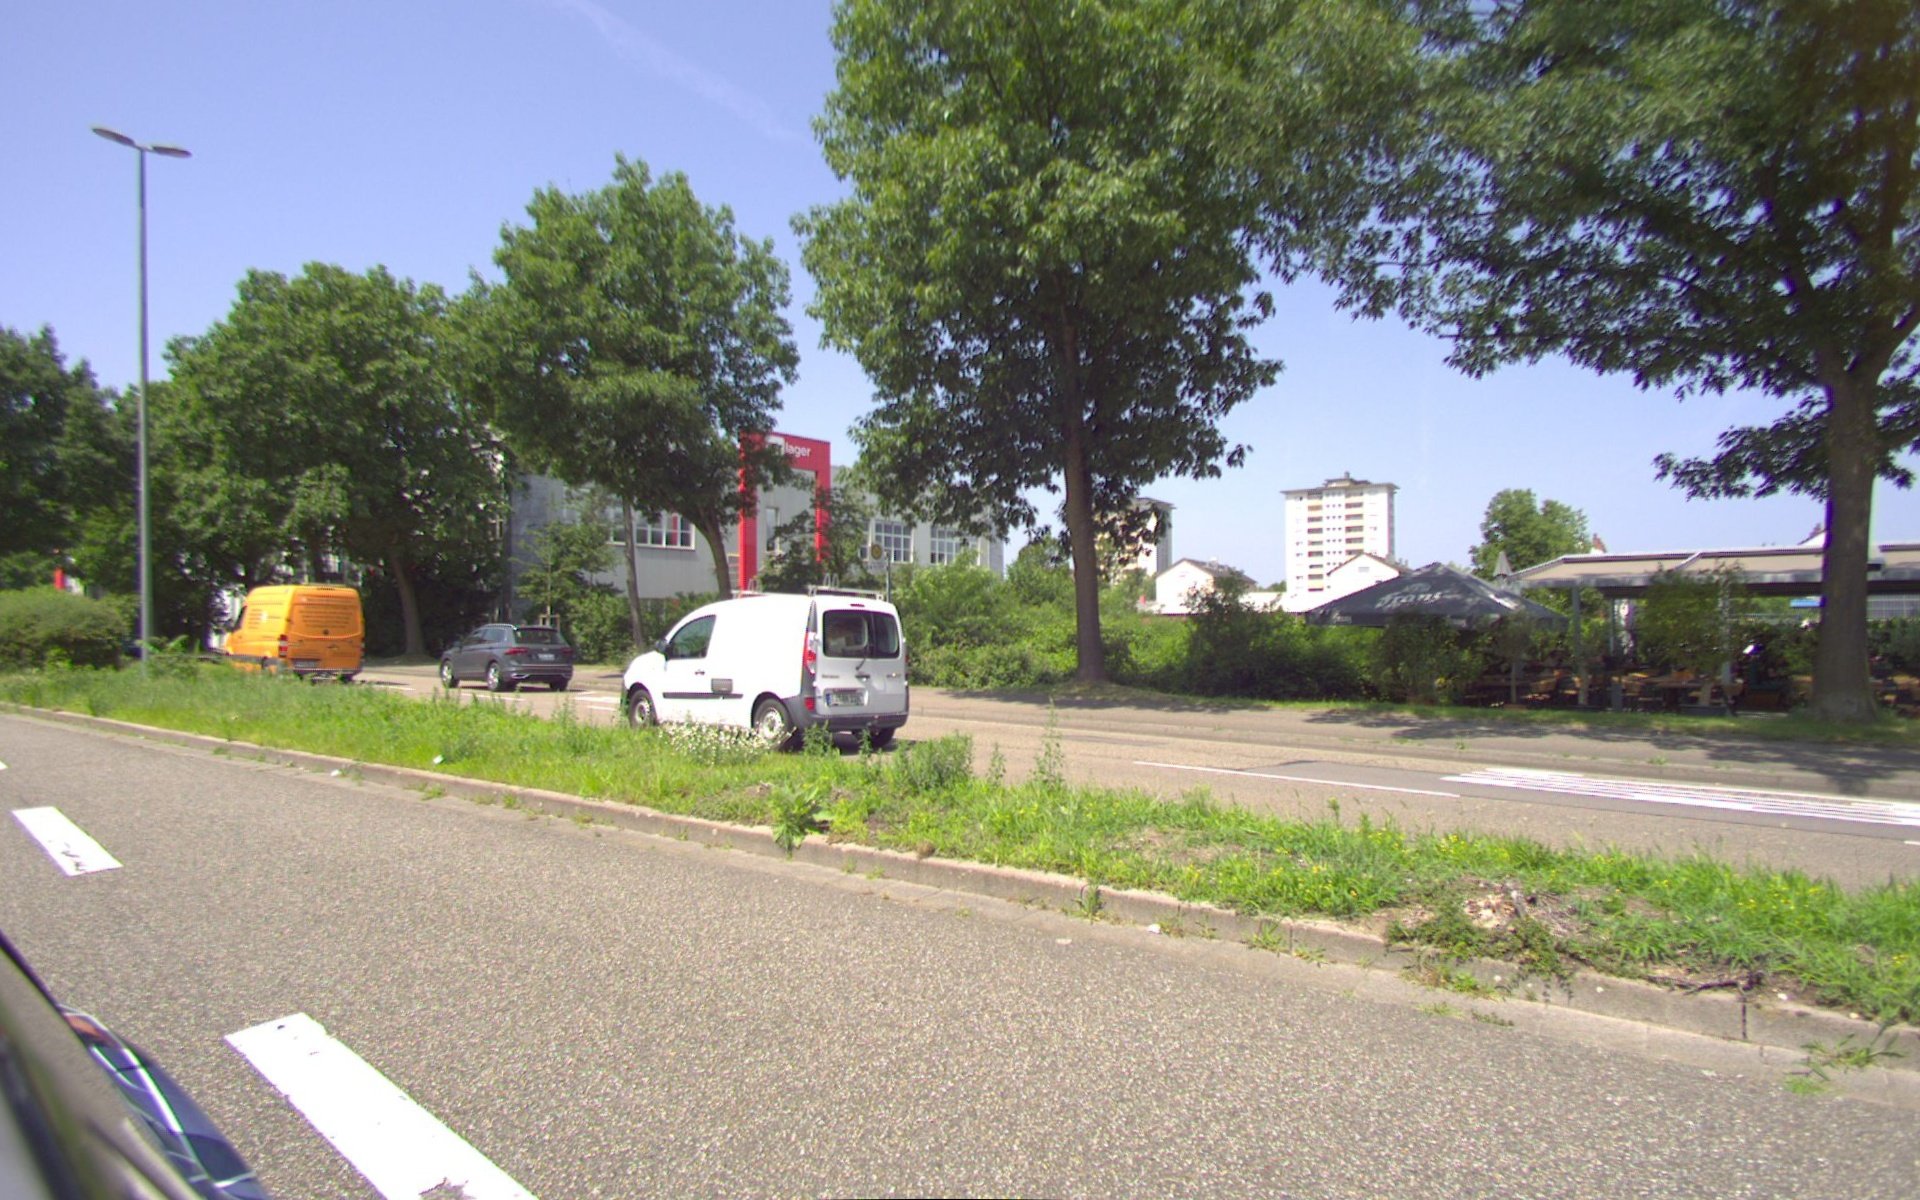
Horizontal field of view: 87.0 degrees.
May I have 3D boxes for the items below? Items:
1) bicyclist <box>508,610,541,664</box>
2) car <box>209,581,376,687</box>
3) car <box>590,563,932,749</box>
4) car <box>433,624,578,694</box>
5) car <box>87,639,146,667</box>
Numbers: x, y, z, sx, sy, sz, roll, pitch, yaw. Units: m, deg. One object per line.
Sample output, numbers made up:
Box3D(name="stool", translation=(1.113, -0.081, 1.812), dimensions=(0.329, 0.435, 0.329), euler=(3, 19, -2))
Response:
Box3D(name="bicyclist", translation=(-13.505, 1.148, 31.394), dimensions=(0.923, 1.643, 0.601), euler=(-2, -3, 42))
Box3D(name="car", translation=(-18.292, 0.964, 27.576), dimensions=(6.055, 2.587, 2.241), euler=(-2, -4, 42))
Box3D(name="car", translation=(-2.606, 0.699, 12.656), dimensions=(4.423, 1.920, 1.832), euler=(-2, -5, 41))
Box3D(name="car", translation=(-11.490, 1.477, 25.453), dimensions=(4.211, 1.616, 1.697), euler=(-2, -5, 42))
Box3D(name="car", translation=(-46.225, 2.892, 55.448), dimensions=(4.584, 1.398, 1.669), euler=(-2, -5, 40))
